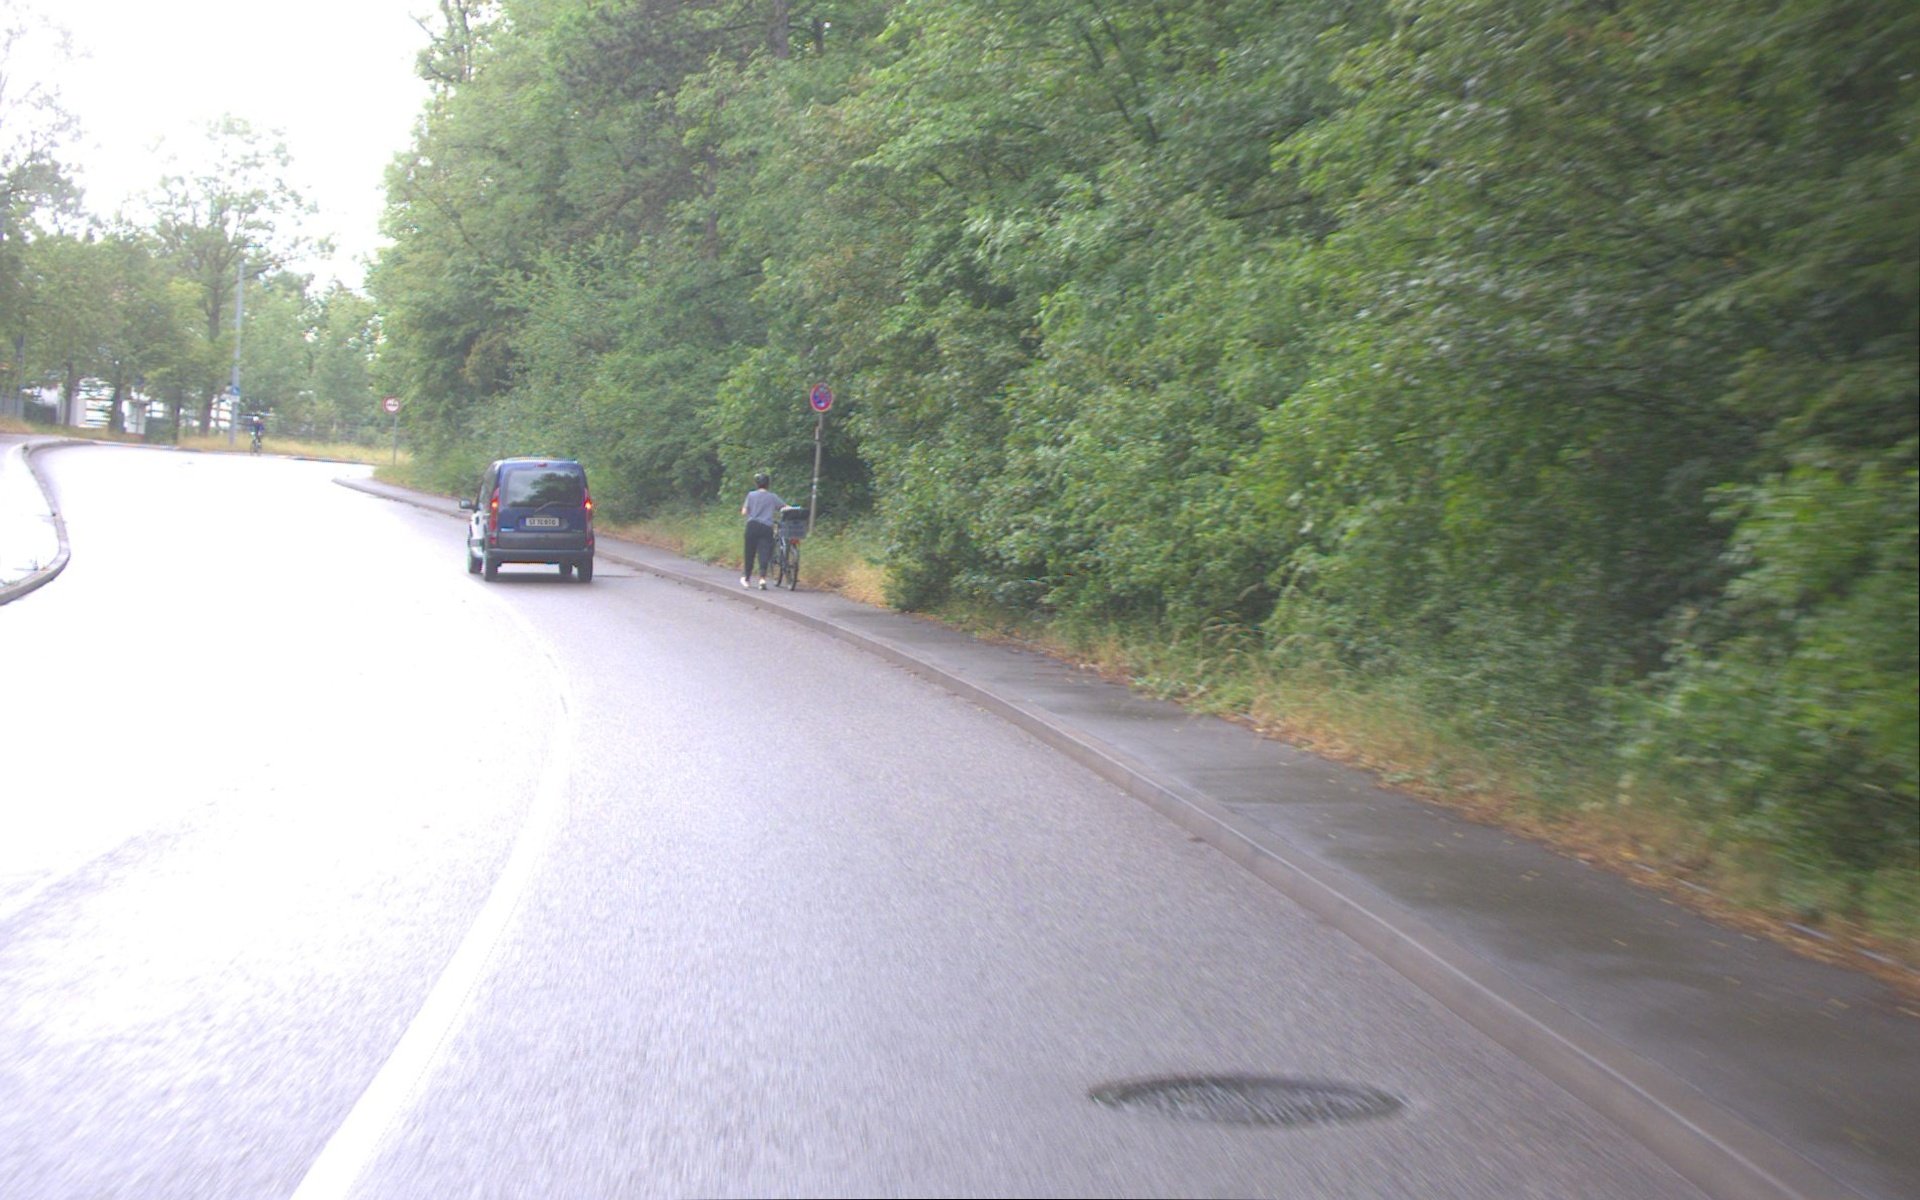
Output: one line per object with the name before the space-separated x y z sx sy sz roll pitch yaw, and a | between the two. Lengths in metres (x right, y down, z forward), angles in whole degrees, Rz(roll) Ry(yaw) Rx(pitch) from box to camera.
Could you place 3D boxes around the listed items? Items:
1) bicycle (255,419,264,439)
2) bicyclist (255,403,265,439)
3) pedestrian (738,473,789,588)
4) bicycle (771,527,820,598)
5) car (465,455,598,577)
bicycle | -31.587 -7.732 155.070 0.355 0.846 2.094 0 4 -13
bicyclist | -31.568 -8.080 155.026 0.336 1.568 1.299 3 4 -13
pedestrian | -2.707 -0.955 47.341 0.564 1.571 0.770 -1 0 -12
bicycle | -2.258 -0.523 47.014 0.355 0.846 1.744 -2 4 -13
car | -6.576 -1.278 52.440 1.826 1.787 4.001 0 1 -10
